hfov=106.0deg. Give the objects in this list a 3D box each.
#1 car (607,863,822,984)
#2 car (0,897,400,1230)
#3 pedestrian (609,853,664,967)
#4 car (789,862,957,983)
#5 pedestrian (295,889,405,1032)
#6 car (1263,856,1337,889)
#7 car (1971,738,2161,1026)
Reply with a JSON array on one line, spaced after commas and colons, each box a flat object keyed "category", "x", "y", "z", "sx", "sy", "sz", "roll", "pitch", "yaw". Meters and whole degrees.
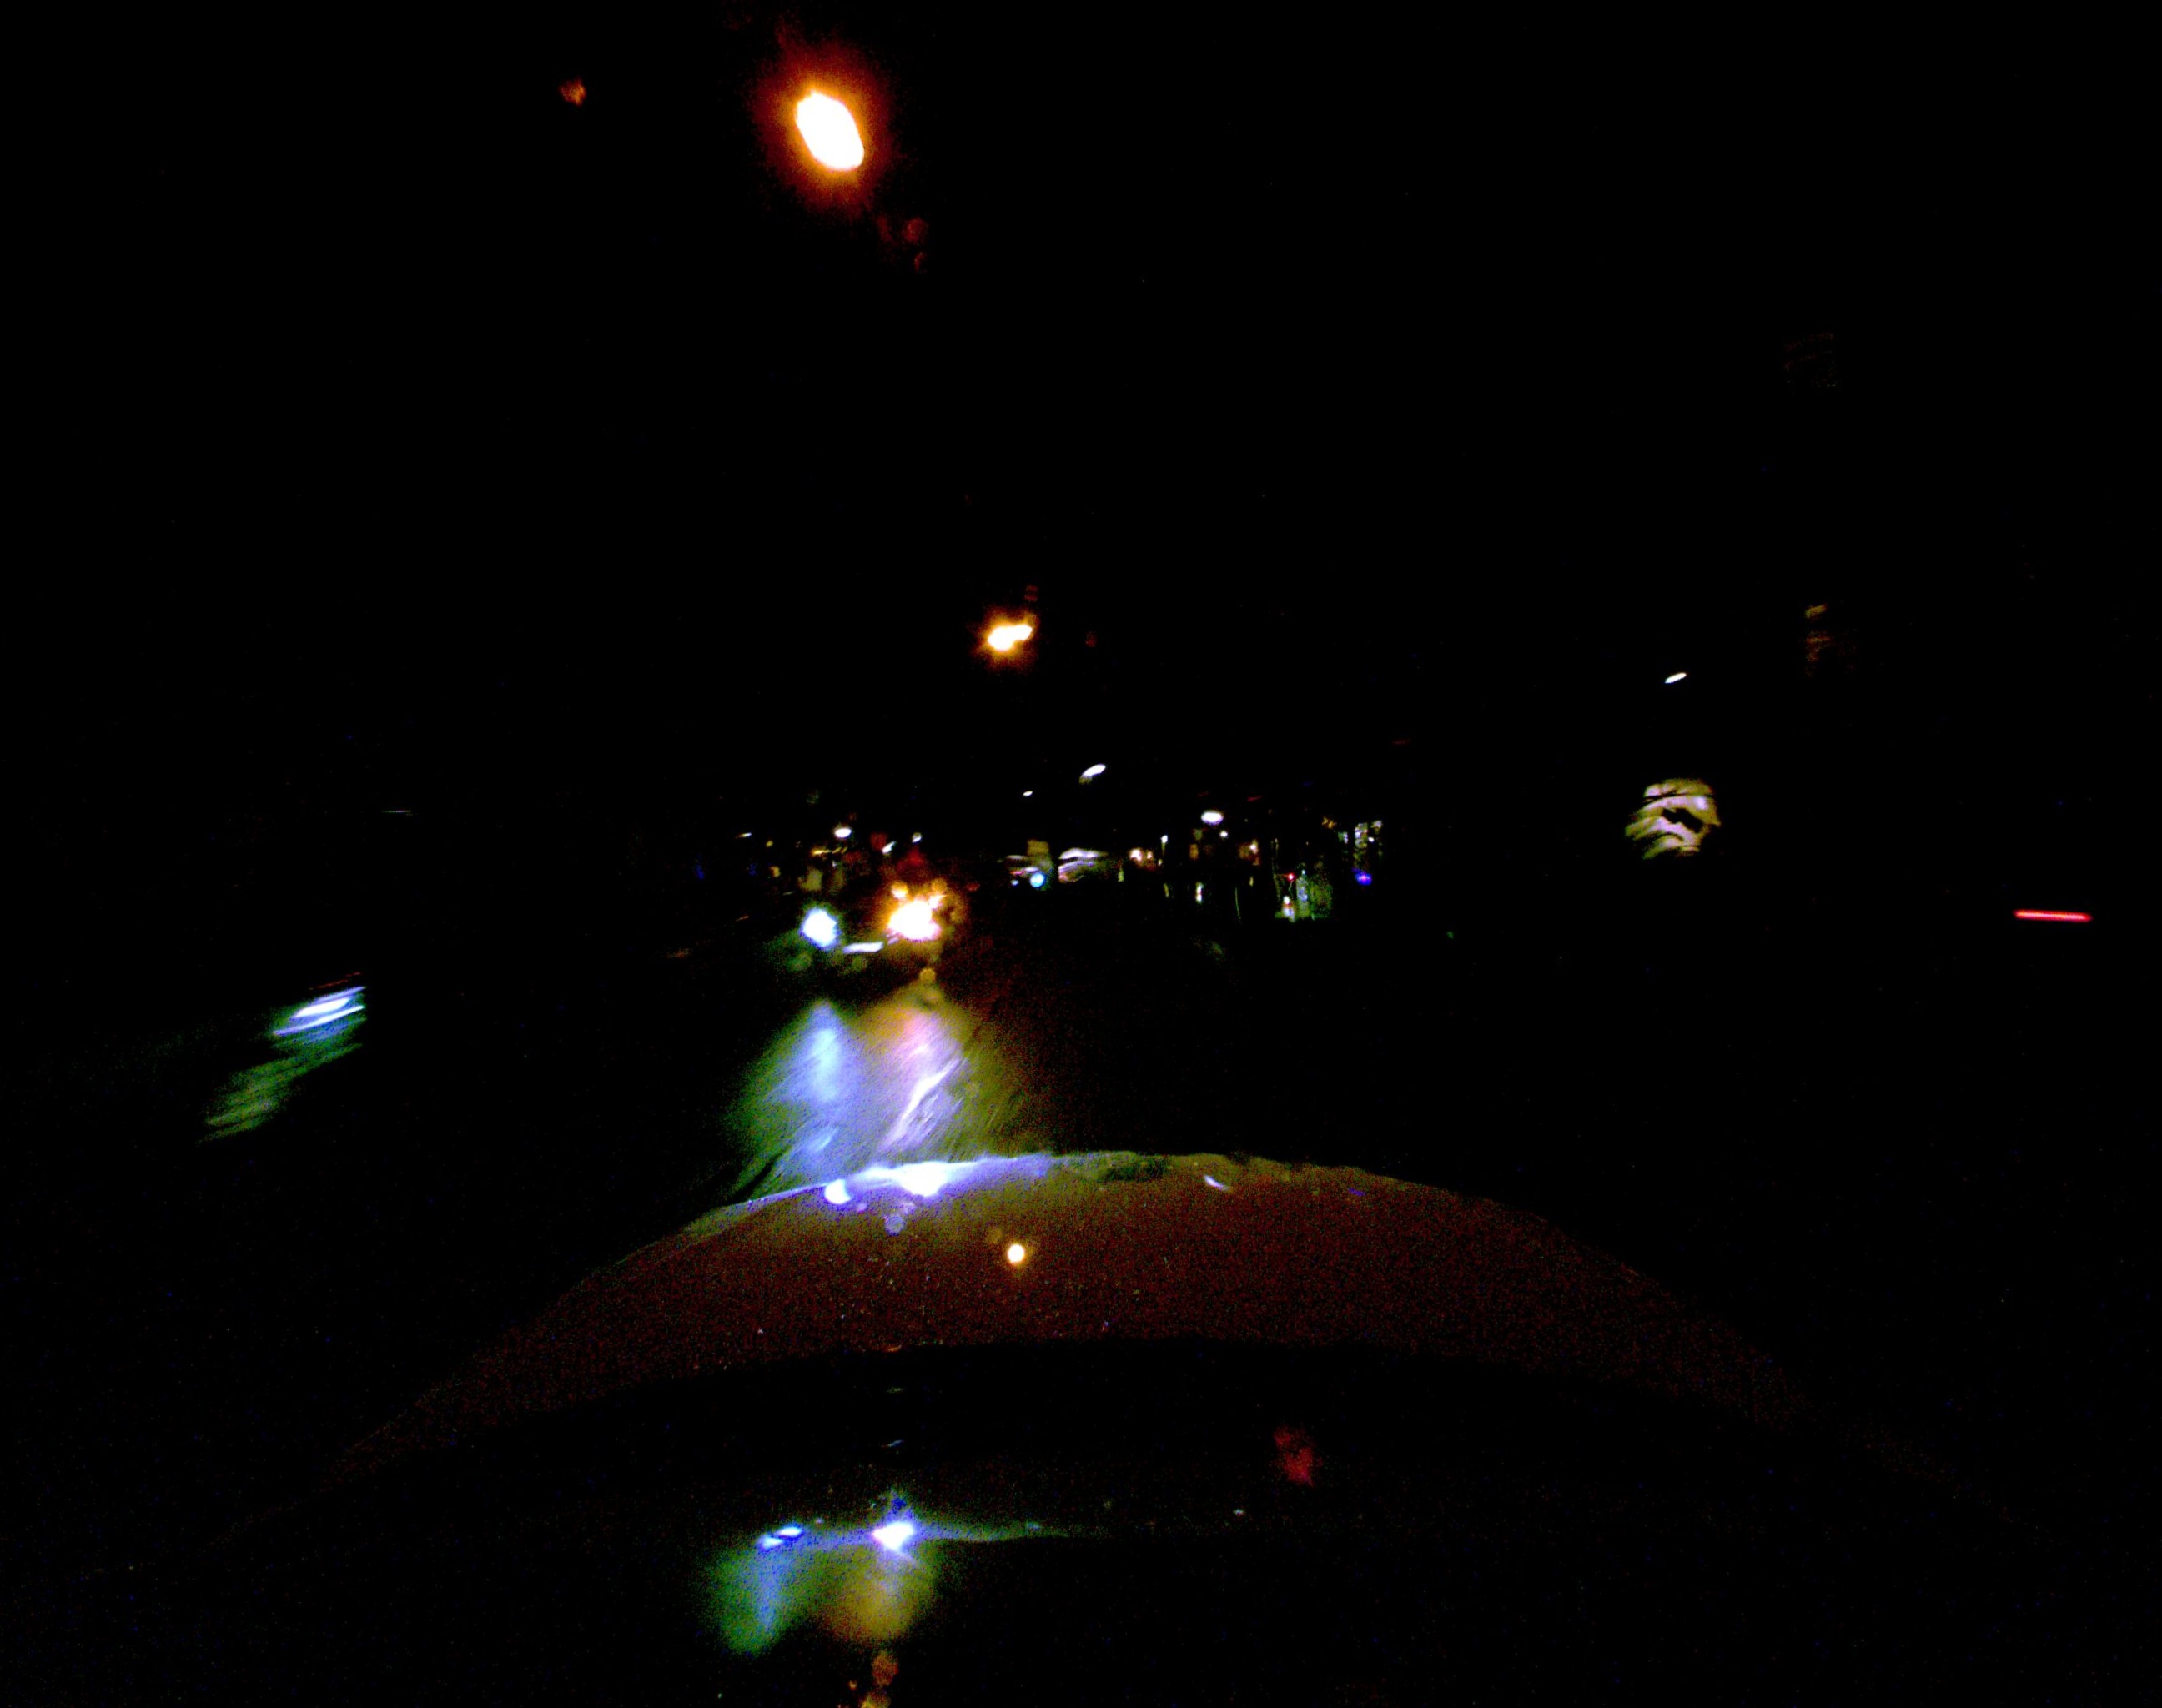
[{"category": "car", "x": -6.178, "y": 1.075, "z": 14.429, "sx": 1.828, "sy": 1.717, "sz": 4.590, "roll": -2, "pitch": -1, "yaw": -2}, {"category": "car", "x": -6.008, "y": 1.055, "z": 3.837, "sx": 1.828, "sy": 1.486, "sz": 4.590, "roll": -2, "pitch": -1, "yaw": -2}, {"category": "pedestrian", "x": -7.941, "y": 0.978, "z": 14.578, "sx": 0.657, "sy": 1.974, "sz": 0.766, "roll": 0, "pitch": -2, "yaw": -13}, {"category": "car", "x": -3.393, "y": 1.032, "z": 14.235, "sx": 1.917, "sy": 1.618, "sz": 4.568, "roll": -4, "pitch": -1, "yaw": -4}, {"category": "pedestrian", "x": -8.464, "y": 1.196, "z": 9.461, "sx": 0.657, "sy": 1.552, "sz": 0.758, "roll": 0, "pitch": -2, "yaw": -17}, {"category": "car", "x": 11.084, "y": 0.944, "z": 41.188, "sx": 3.472, "sy": 1.614, "sz": 1.719, "roll": 1, "pitch": -2, "yaw": -31}, {"category": "car", "x": 9.984, "y": 0.110, "z": 6.207, "sx": 4.676, "sy": 2.049, "sz": 1.996, "roll": -2, "pitch": -1, "yaw": -9}]
